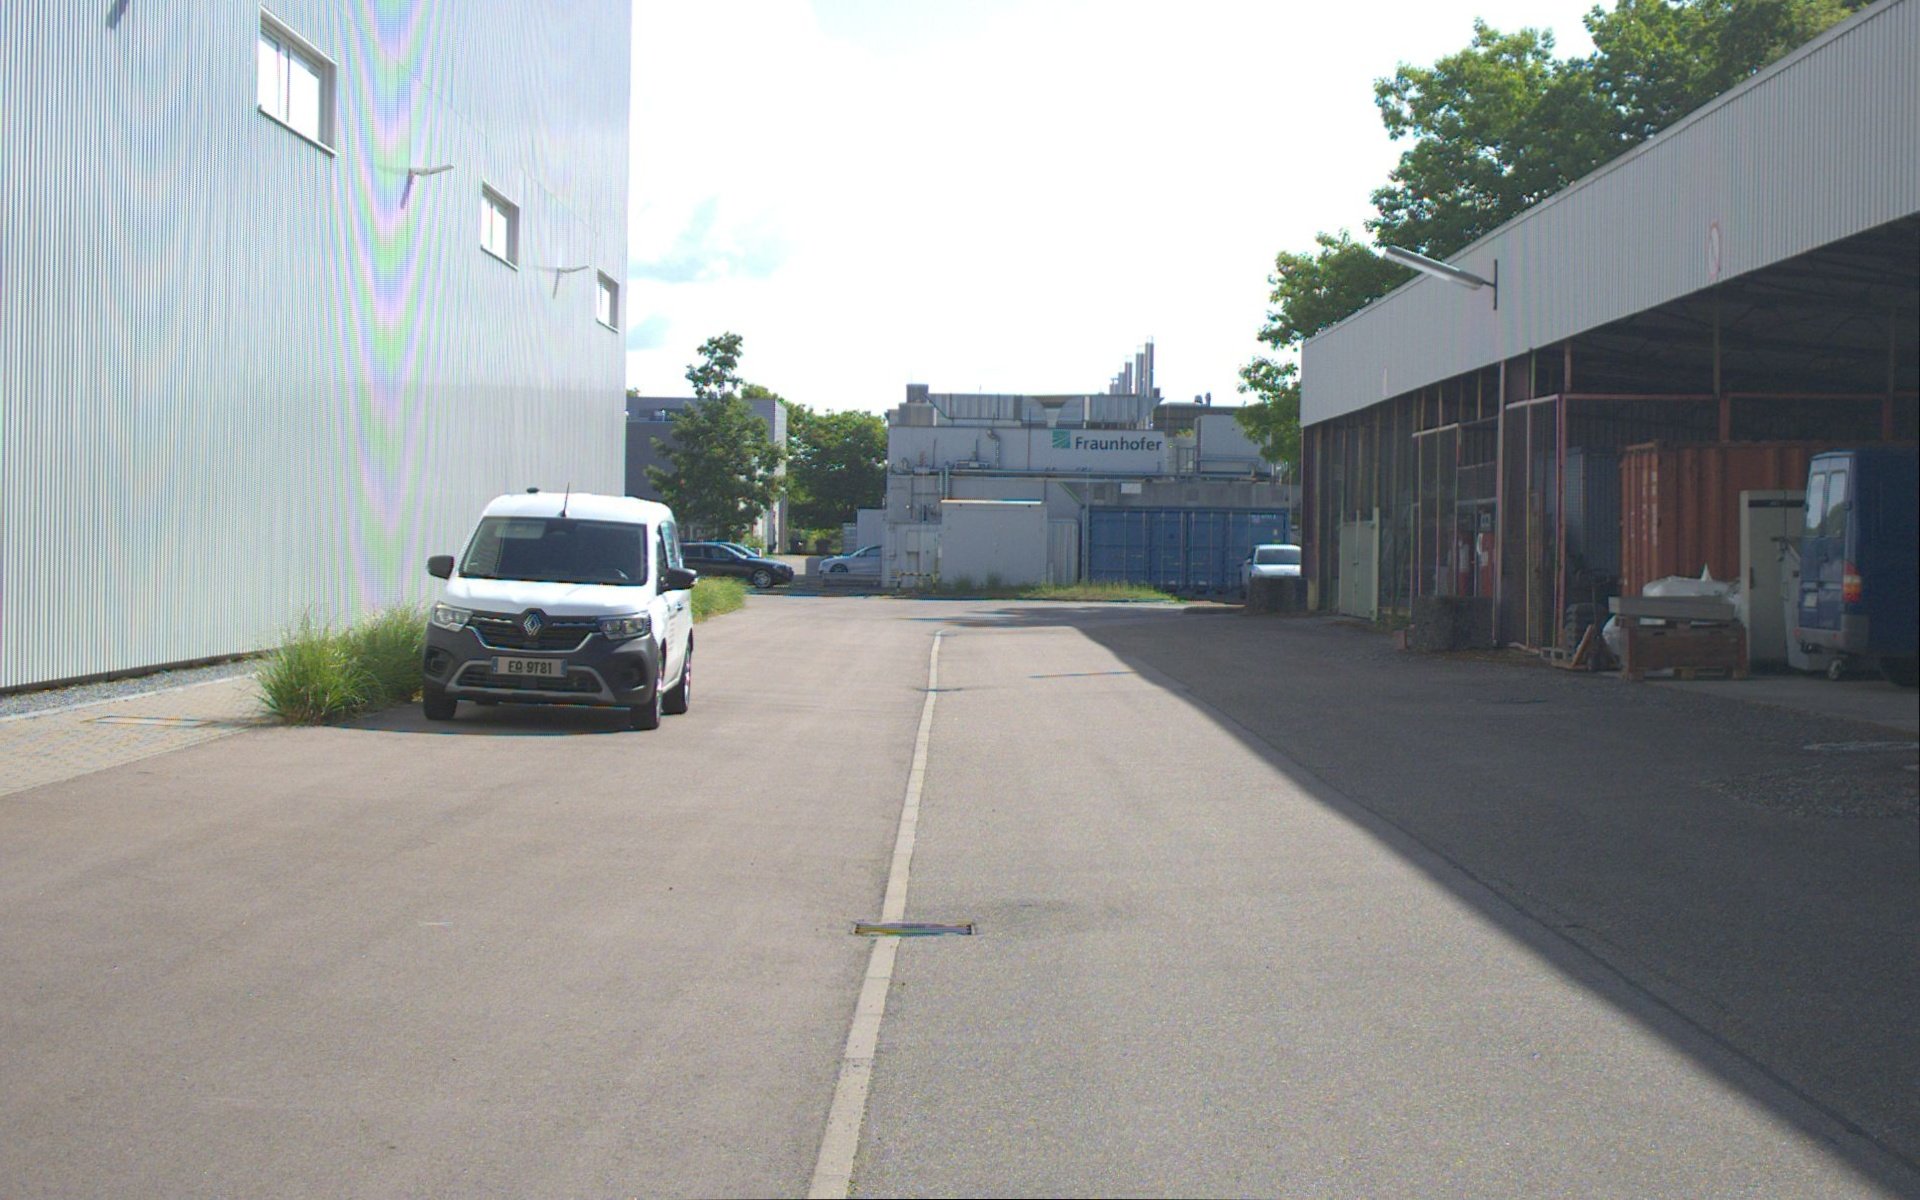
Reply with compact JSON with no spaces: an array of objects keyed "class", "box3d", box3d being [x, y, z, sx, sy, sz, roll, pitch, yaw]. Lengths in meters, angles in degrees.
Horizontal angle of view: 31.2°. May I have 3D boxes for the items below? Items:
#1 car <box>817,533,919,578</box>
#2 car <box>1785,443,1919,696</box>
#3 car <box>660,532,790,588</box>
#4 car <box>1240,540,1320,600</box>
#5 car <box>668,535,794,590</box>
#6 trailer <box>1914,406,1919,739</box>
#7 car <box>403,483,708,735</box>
[{"class":"car","box3d":[-3.675,-1.761,137.577,3.987,1.592,1.848,2,-1,-1]},{"class":"car","box3d":[10.324,-0.193,32.697,4.433,2.302,1.915,2,-1,1]},{"class":"car","box3d":[-7.489,-1.270,109.729,3.987,1.592,1.742,2,-1,-1]},{"class":"car","box3d":[9.020,-0.861,97.183,1.962,1.559,4.059,2,2,2]},{"class":"car","box3d":[-7.485,-1.218,112.730,3.987,1.592,1.707,2,-1,-1]},{"class":"trailer","box3d":[8.153,-0.179,23.926,2.523,2.390,1.727,1,0,1]},{"class":"car","box3d":[-3.135,0.014,27.479,1.819,1.781,4.405,2,1,0]}]
